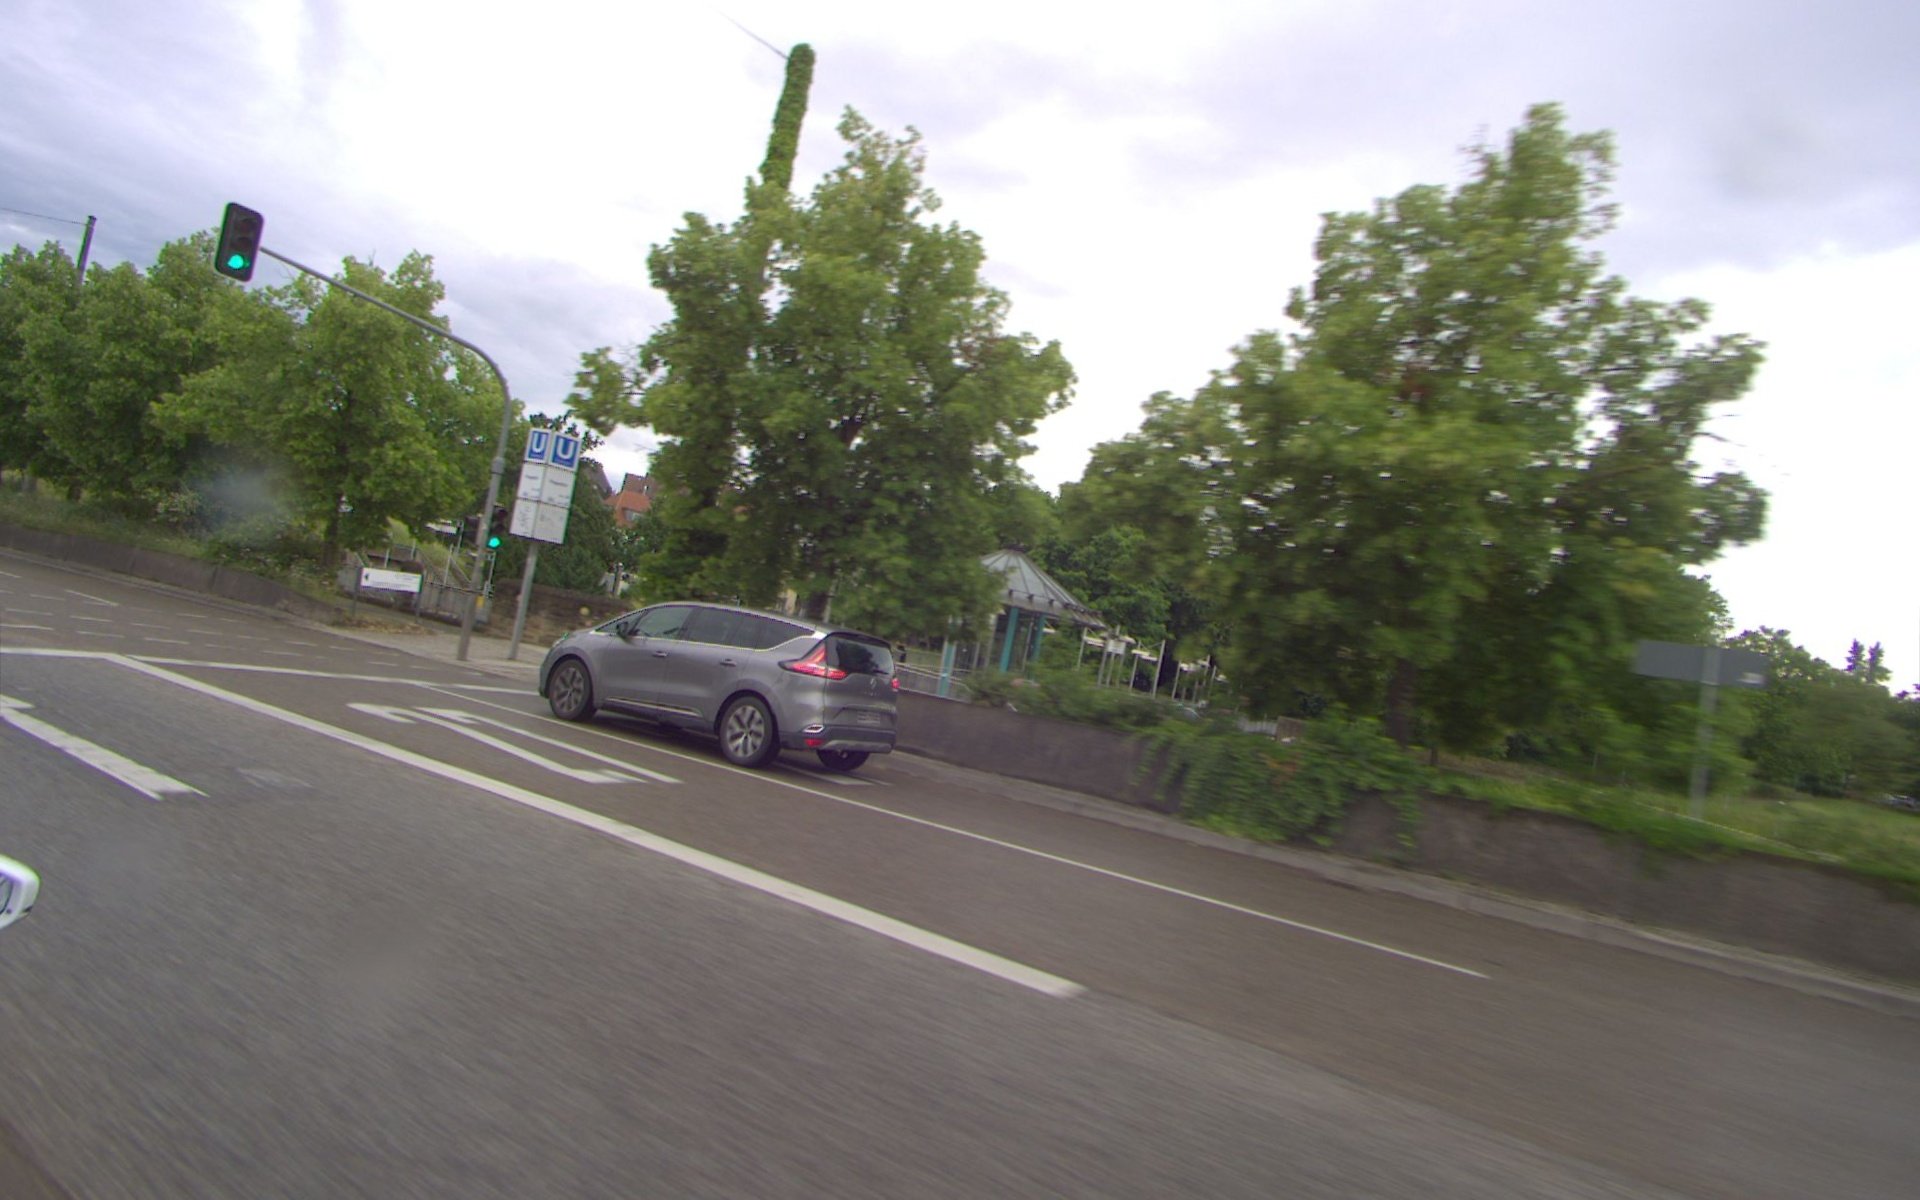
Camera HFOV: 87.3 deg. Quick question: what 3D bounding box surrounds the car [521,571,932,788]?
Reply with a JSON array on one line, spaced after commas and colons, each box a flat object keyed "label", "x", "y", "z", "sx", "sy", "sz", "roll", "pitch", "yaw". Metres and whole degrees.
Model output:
[{"label": "car", "x": -2.807, "y": 0.877, "z": 11.749, "sx": 4.547, "sy": 1.665, "sz": 1.732, "roll": 8, "pitch": -4, "yaw": 31}]
